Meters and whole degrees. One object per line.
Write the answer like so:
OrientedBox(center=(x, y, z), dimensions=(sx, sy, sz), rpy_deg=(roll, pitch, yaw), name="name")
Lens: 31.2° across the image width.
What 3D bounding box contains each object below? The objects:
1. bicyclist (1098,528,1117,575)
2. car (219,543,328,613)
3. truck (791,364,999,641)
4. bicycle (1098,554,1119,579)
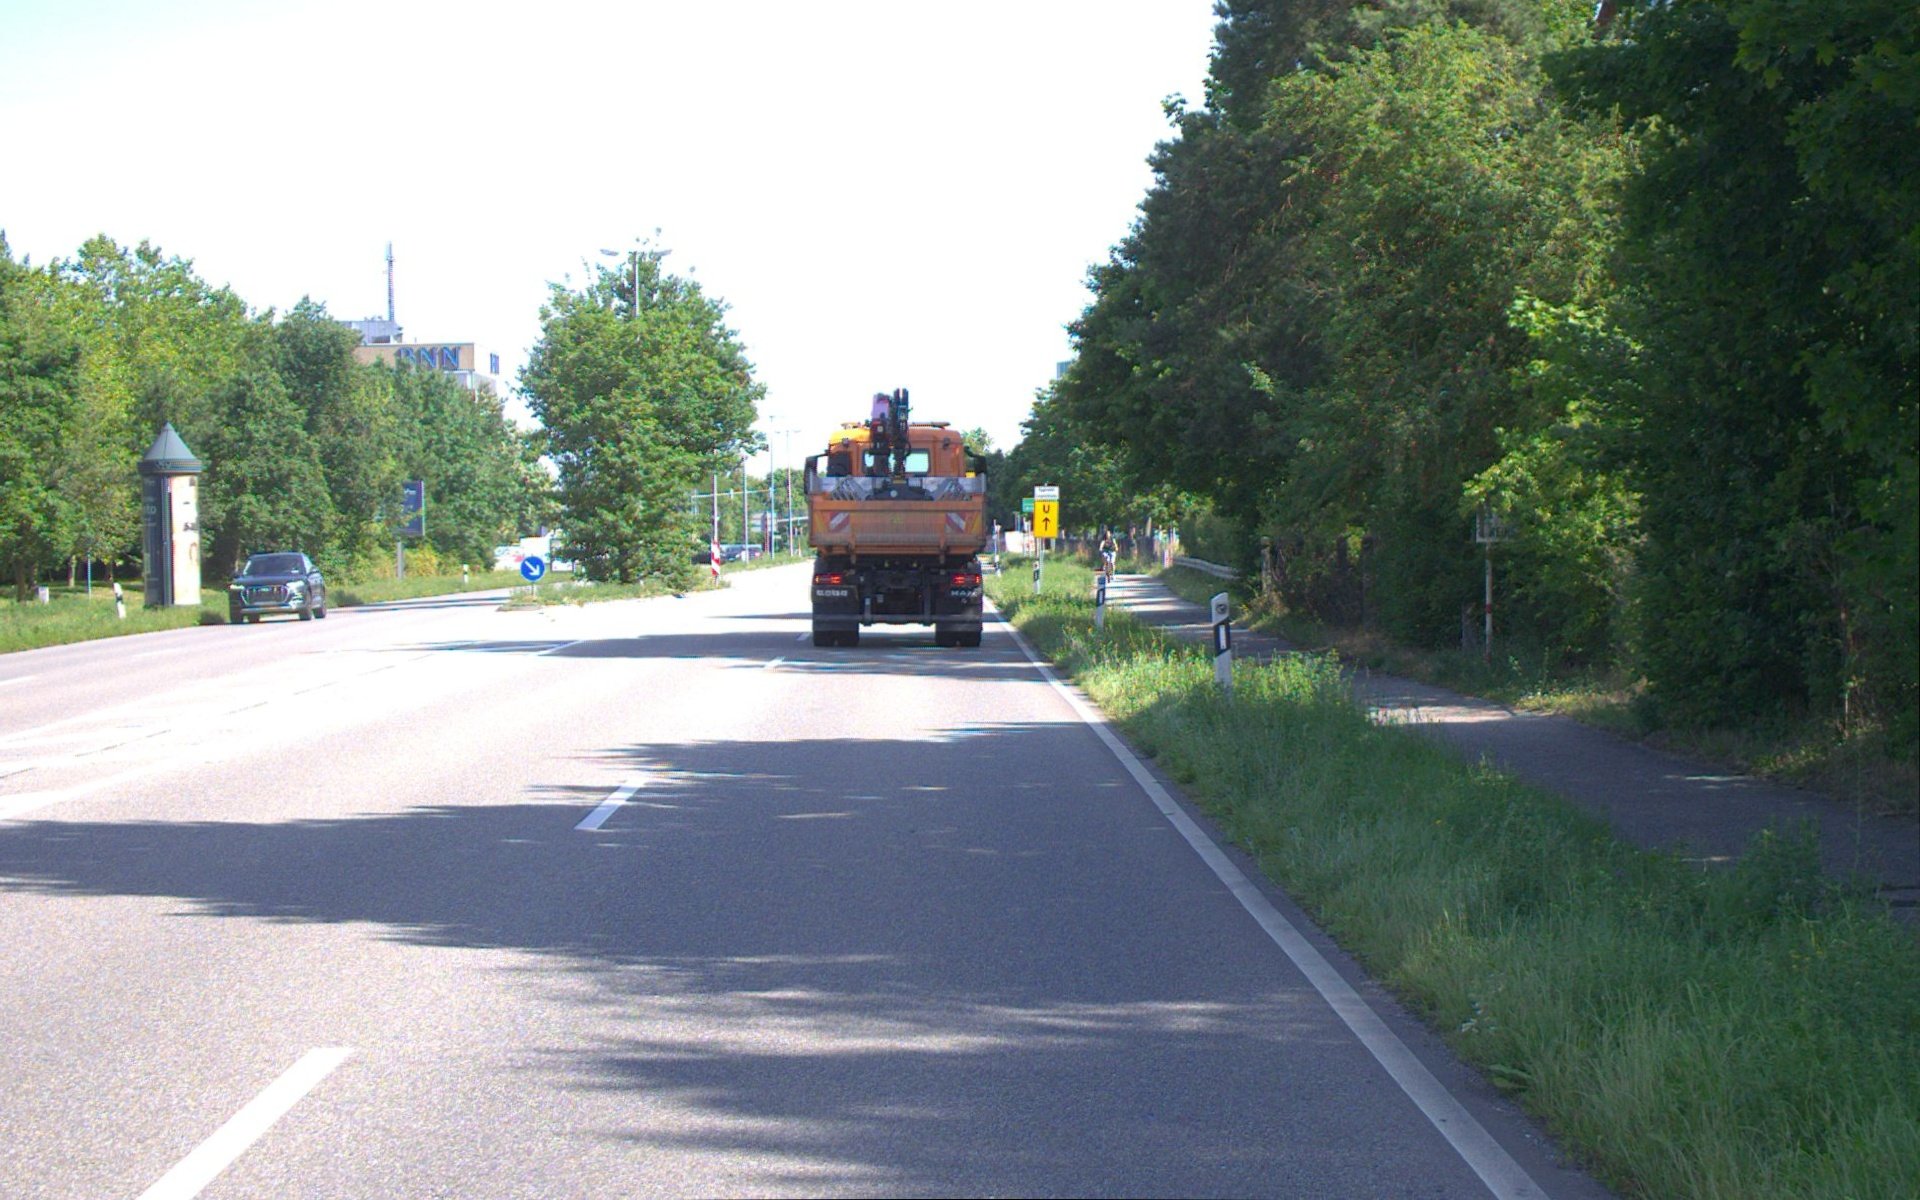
OrientedBox(center=(5.015, -1.646, 116.691), dimensions=(0.558, 1.552, 0.557), rpy_deg=(-2, 1, -1), name="bicyclist")
OrientedBox(center=(-16.441, -0.553, 82.489), dimensions=(1.800, 1.566, 4.000), rpy_deg=(-2, 1, -1), name="car")
OrientedBox(center=(-1.080, -1.446, 52.199), dimensions=(2.871, 3.867, 7.401), rpy_deg=(1, 1, -3), name="truck")
OrientedBox(center=(5.042, -1.150, 116.719), dimensions=(0.558, 0.813, 1.964), rpy_deg=(-2, 1, -1), name="bicycle")
